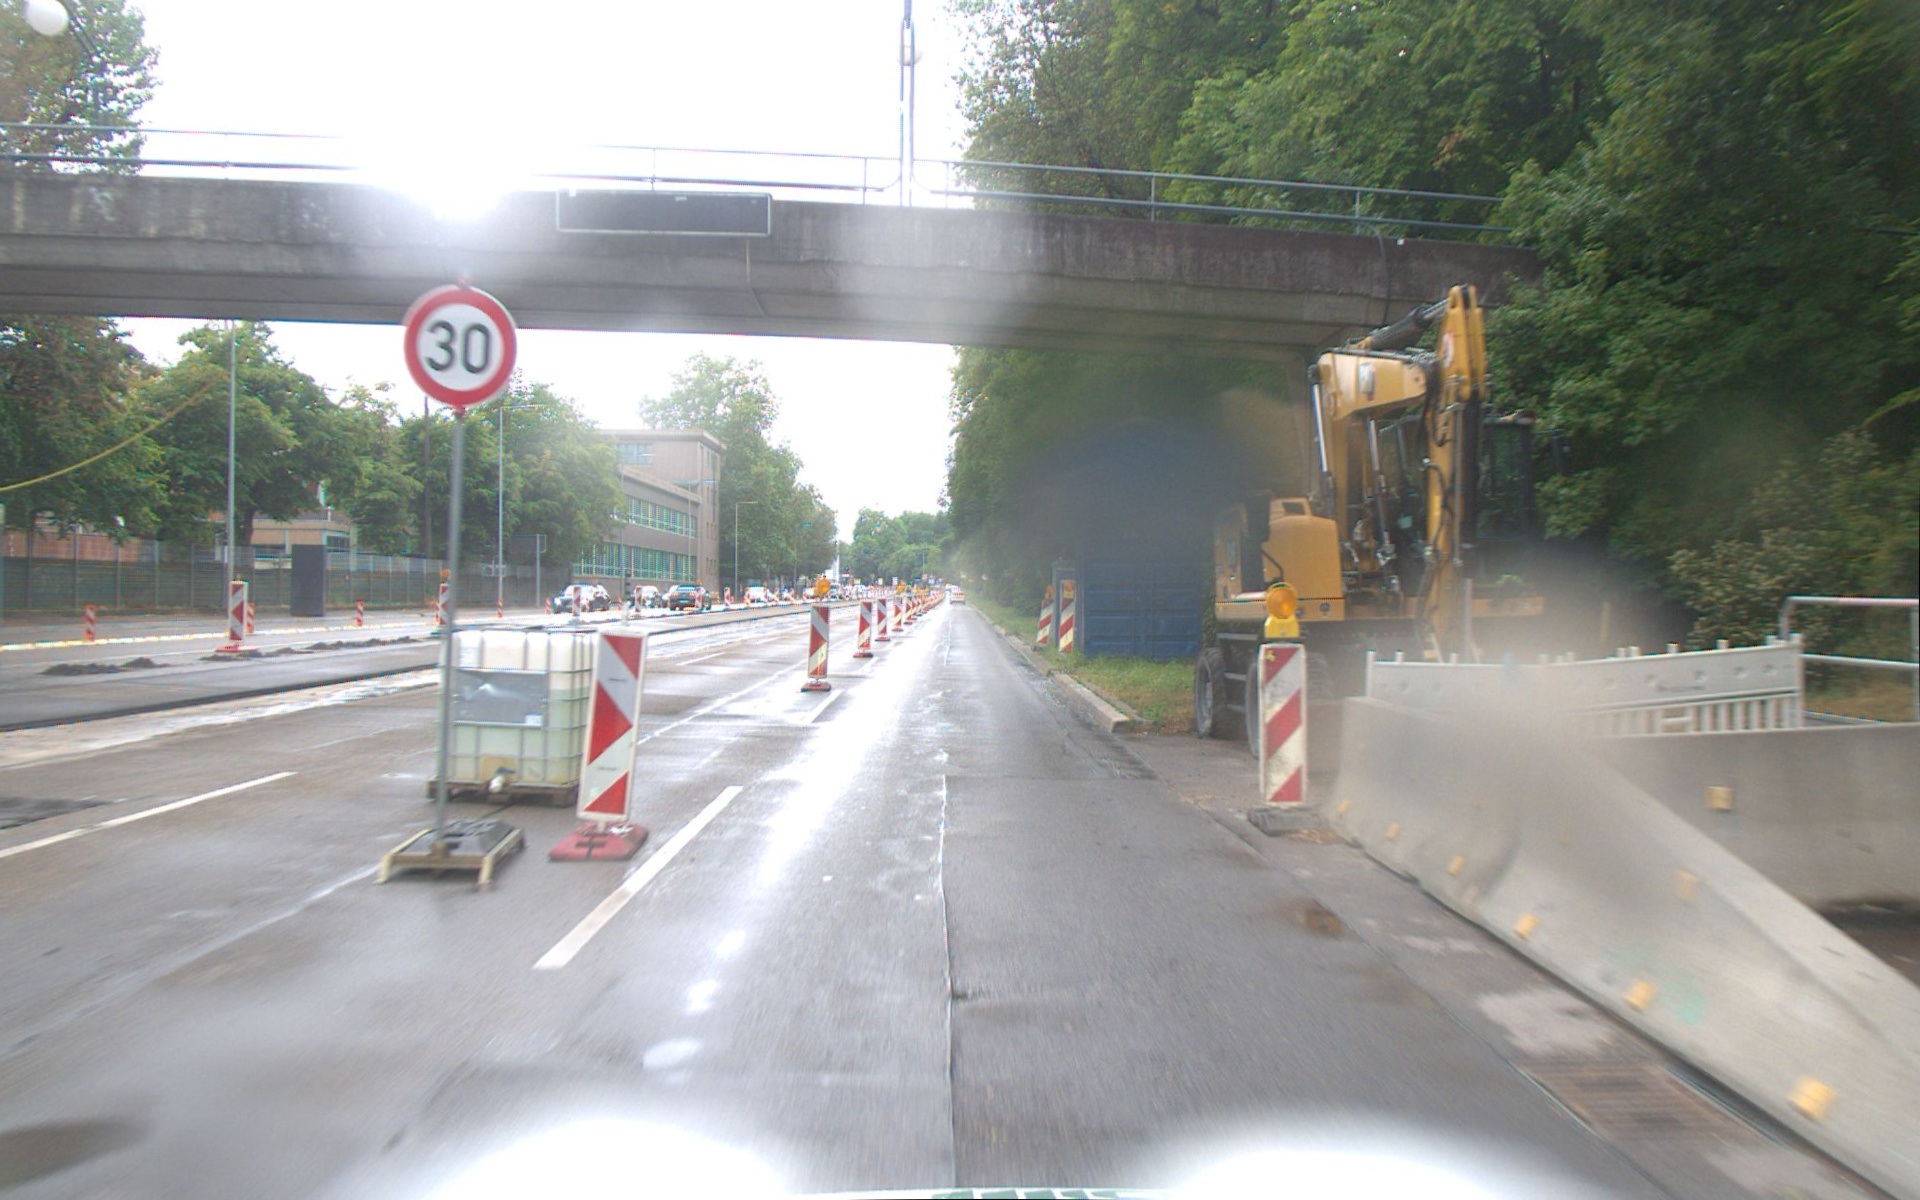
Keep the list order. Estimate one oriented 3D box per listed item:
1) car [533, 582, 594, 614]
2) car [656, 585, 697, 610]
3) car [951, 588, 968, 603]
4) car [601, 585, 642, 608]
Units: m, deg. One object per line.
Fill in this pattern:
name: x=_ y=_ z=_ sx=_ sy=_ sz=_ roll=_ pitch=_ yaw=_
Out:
car: x=-18.931 y=-0.107 z=79.148 sx=1.930 sy=1.467 sz=4.000 roll=0 pitch=0 yaw=0
car: x=-16.647 y=-0.158 z=97.380 sx=1.688 sy=1.467 sz=4.000 roll=0 pitch=0 yaw=0
car: x=-0.083 y=-0.533 z=190.144 sx=1.953 sy=1.668 sz=3.999 roll=0 pitch=0 yaw=-1
car: x=-22.449 y=-0.248 z=109.931 sx=1.931 sy=1.467 sz=4.000 roll=0 pitch=0 yaw=0
